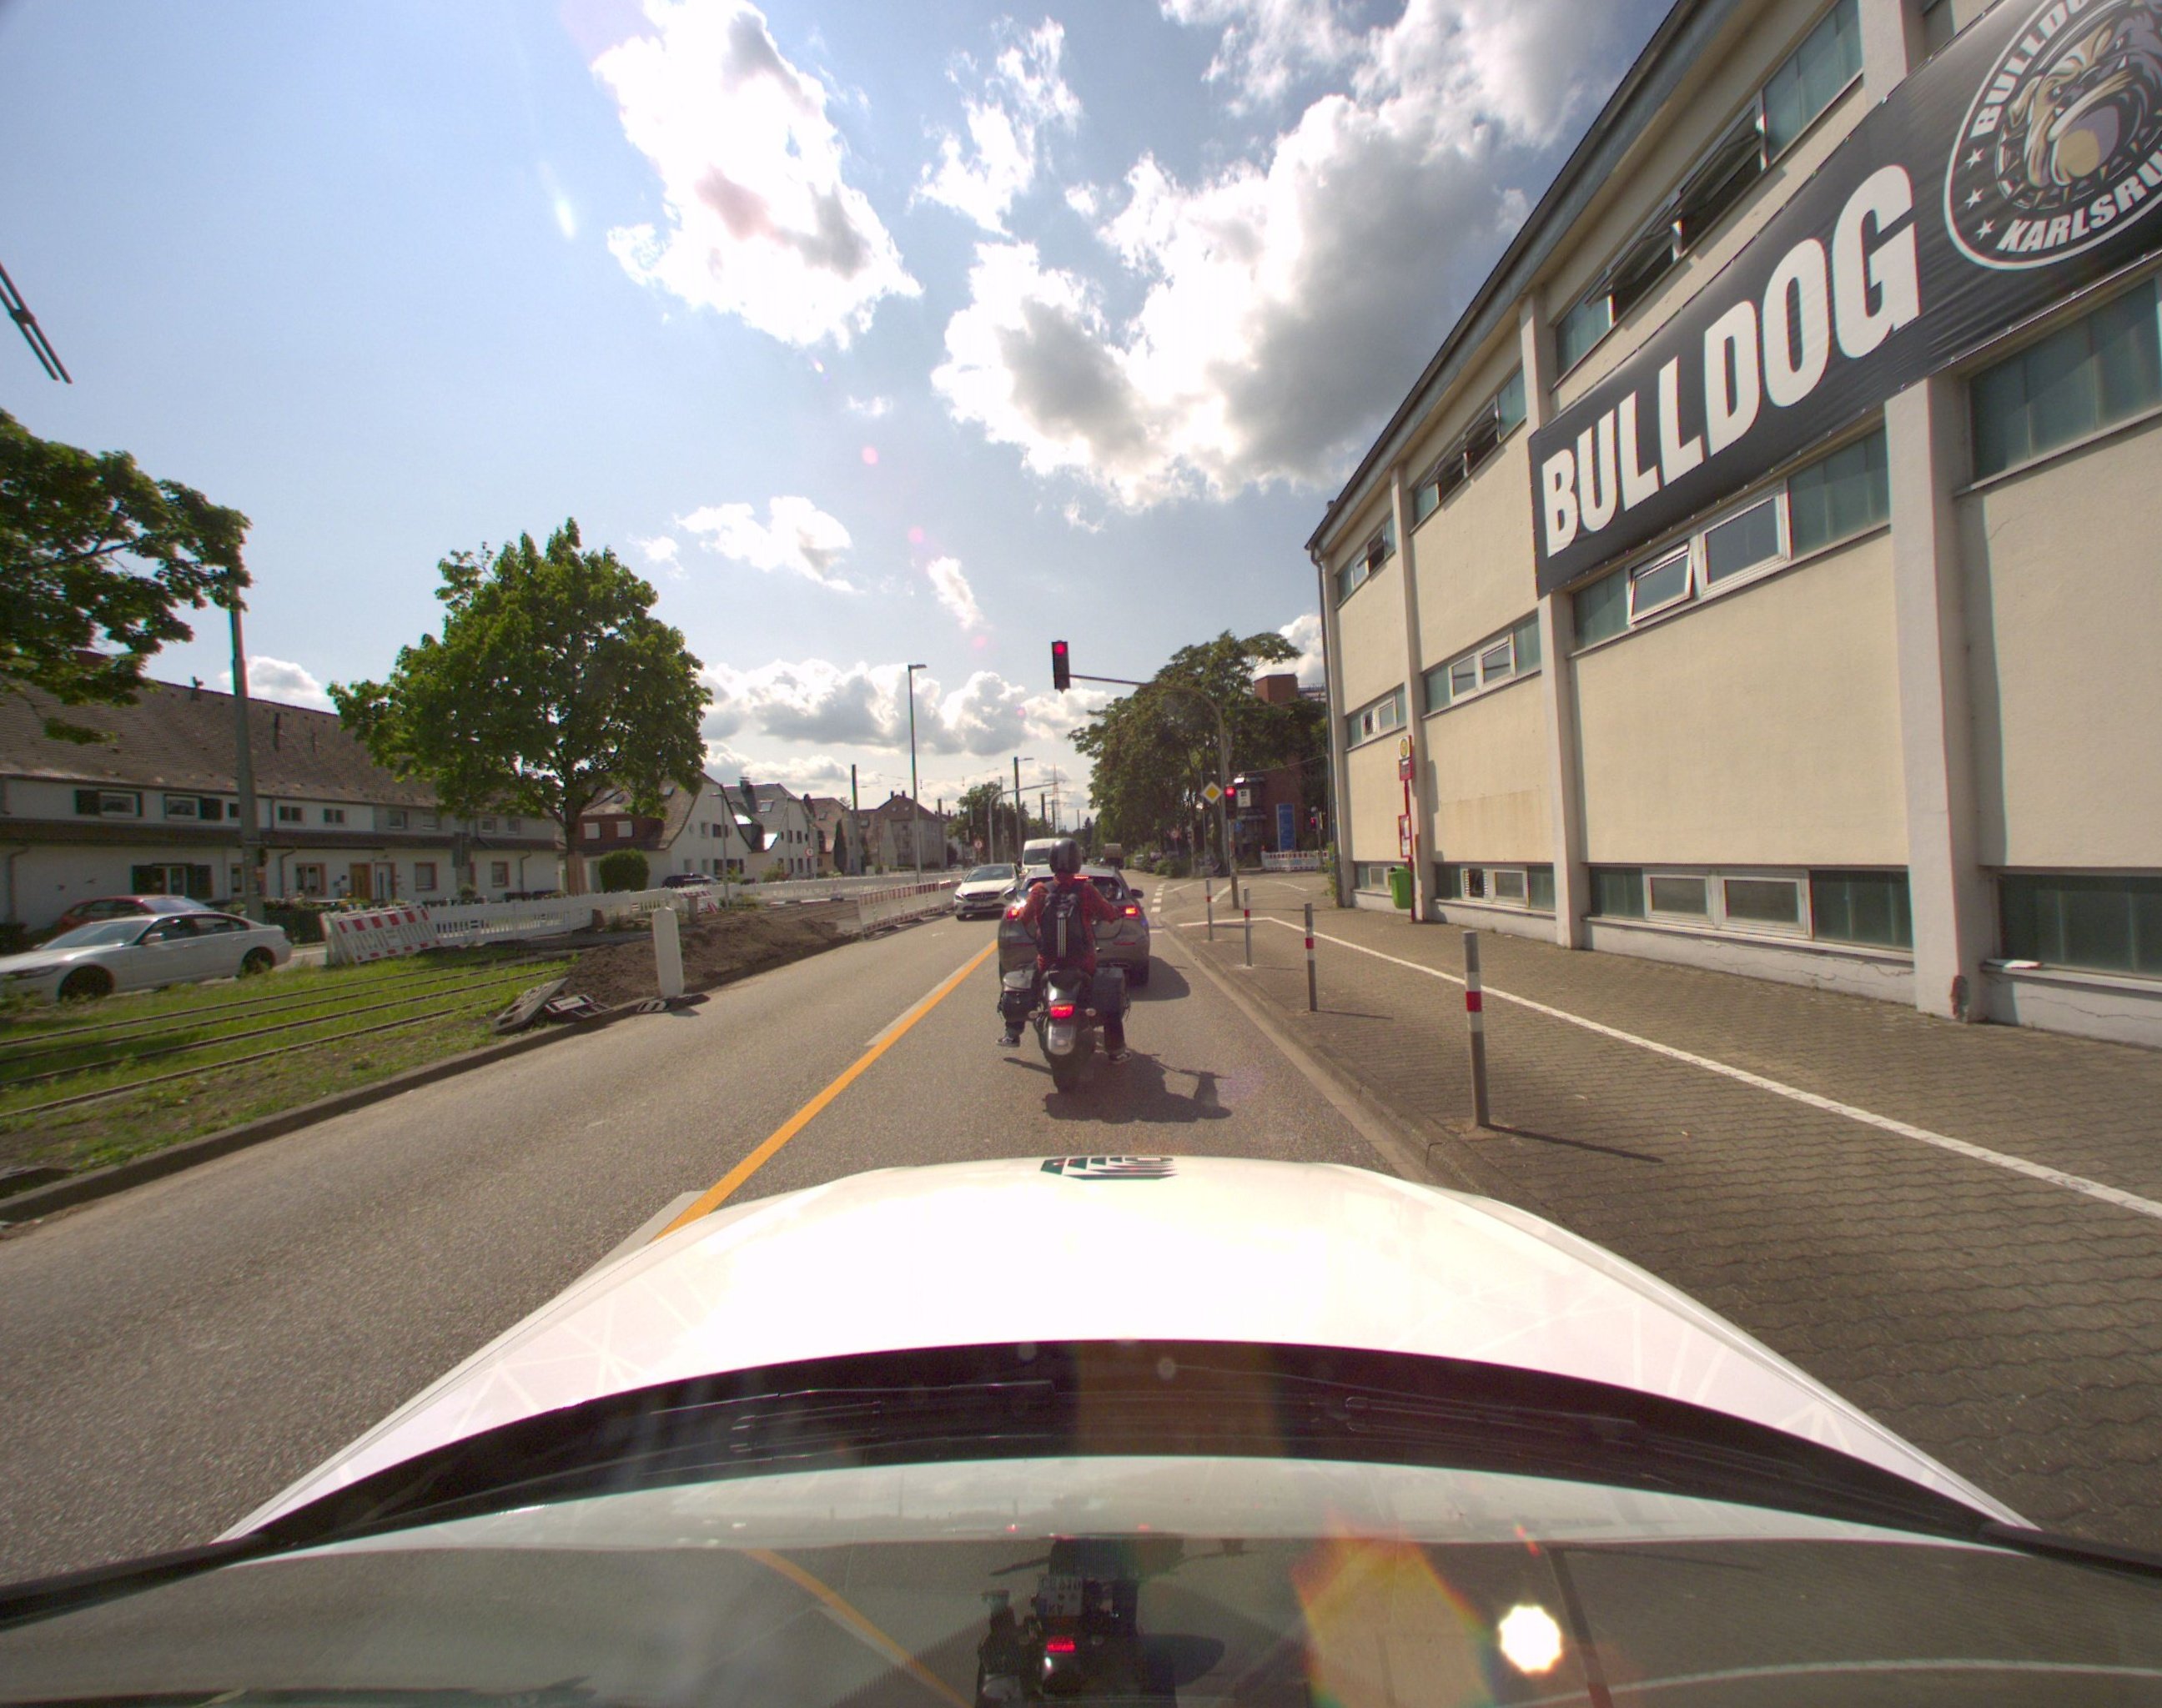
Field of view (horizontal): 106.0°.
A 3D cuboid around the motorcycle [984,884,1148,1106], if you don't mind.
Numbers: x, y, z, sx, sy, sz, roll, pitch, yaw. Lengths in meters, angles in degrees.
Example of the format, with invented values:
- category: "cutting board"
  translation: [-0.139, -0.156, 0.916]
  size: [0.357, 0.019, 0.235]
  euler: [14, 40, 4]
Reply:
- category: "motorcycle"
  translation: [-0.063, 0.867, 5.986]
  size: [0.939, 1.200, 2.473]
  euler: [-1, 0, 1]

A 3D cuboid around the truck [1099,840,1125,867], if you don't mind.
- category: "truck"
  translation: [3.889, 0.003, 100.074]
  size: [2.954, 3.173, 7.771]
  euler: [-1, -1, 4]

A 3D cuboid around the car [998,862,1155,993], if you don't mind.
- category: "car"
  translation: [-0.164, 0.827, 11.042]
  size: [1.728, 1.403, 4.081]
  euler: [-1, 0, -3]

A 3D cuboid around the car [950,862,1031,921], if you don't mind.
- category: "car"
  translation: [-2.511, 1.030, 23.465]
  size: [1.738, 1.437, 4.084]
  euler: [-4, -1, 1]

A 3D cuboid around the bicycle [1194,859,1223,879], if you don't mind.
- category: "bicycle"
  translation: [7.692, 0.889, 49.252]
  size: [1.699, 1.172, 0.438]
  euler: [-1, -1, 6]

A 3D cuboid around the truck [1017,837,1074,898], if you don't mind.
- category: "truck"
  translation: [-1.574, 0.535, 37.966]
  size: [2.085, 2.476, 5.198]
  euler: [-4, 1, 2]

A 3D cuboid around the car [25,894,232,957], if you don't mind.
- category: "car"
  translation: [-28.123, 2.090, 24.131]
  size: [3.974, 1.509, 1.725]
  euler: [-3, 0, -1]

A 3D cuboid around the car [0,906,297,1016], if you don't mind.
- category: "car"
  translation: [-16.431, 1.750, 14.216]
  size: [1.538, 1.376, 4.245]
  euler: [-3, 0, -5]

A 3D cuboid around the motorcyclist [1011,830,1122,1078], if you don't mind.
- category: "motorcyclist"
  translation: [-0.087, 0.659, 5.668]
  size: [0.696, 1.604, 0.692]
  euler: [-1, -1, 1]

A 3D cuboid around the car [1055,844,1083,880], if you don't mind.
- category: "car"
  translation: [-0.717, 0.516, 51.425]
  size: [1.583, 2.143, 3.628]
  euler: [-1, -1, 2]

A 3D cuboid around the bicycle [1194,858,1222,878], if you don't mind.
- category: "bicycle"
  translation: [7.763, 0.870, 49.813]
  size: [1.699, 1.172, 0.438]
  euler: [-1, -1, 6]

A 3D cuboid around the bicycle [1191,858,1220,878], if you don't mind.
- category: "bicycle"
  translation: [7.692, 0.880, 50.350]
  size: [1.699, 1.172, 0.438]
  euler: [-1, -1, 6]

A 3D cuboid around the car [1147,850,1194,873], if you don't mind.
- category: "car"
  translation: [7.664, 0.607, 69.477]
  size: [4.023, 1.926, 1.781]
  euler: [0, -1, -44]
